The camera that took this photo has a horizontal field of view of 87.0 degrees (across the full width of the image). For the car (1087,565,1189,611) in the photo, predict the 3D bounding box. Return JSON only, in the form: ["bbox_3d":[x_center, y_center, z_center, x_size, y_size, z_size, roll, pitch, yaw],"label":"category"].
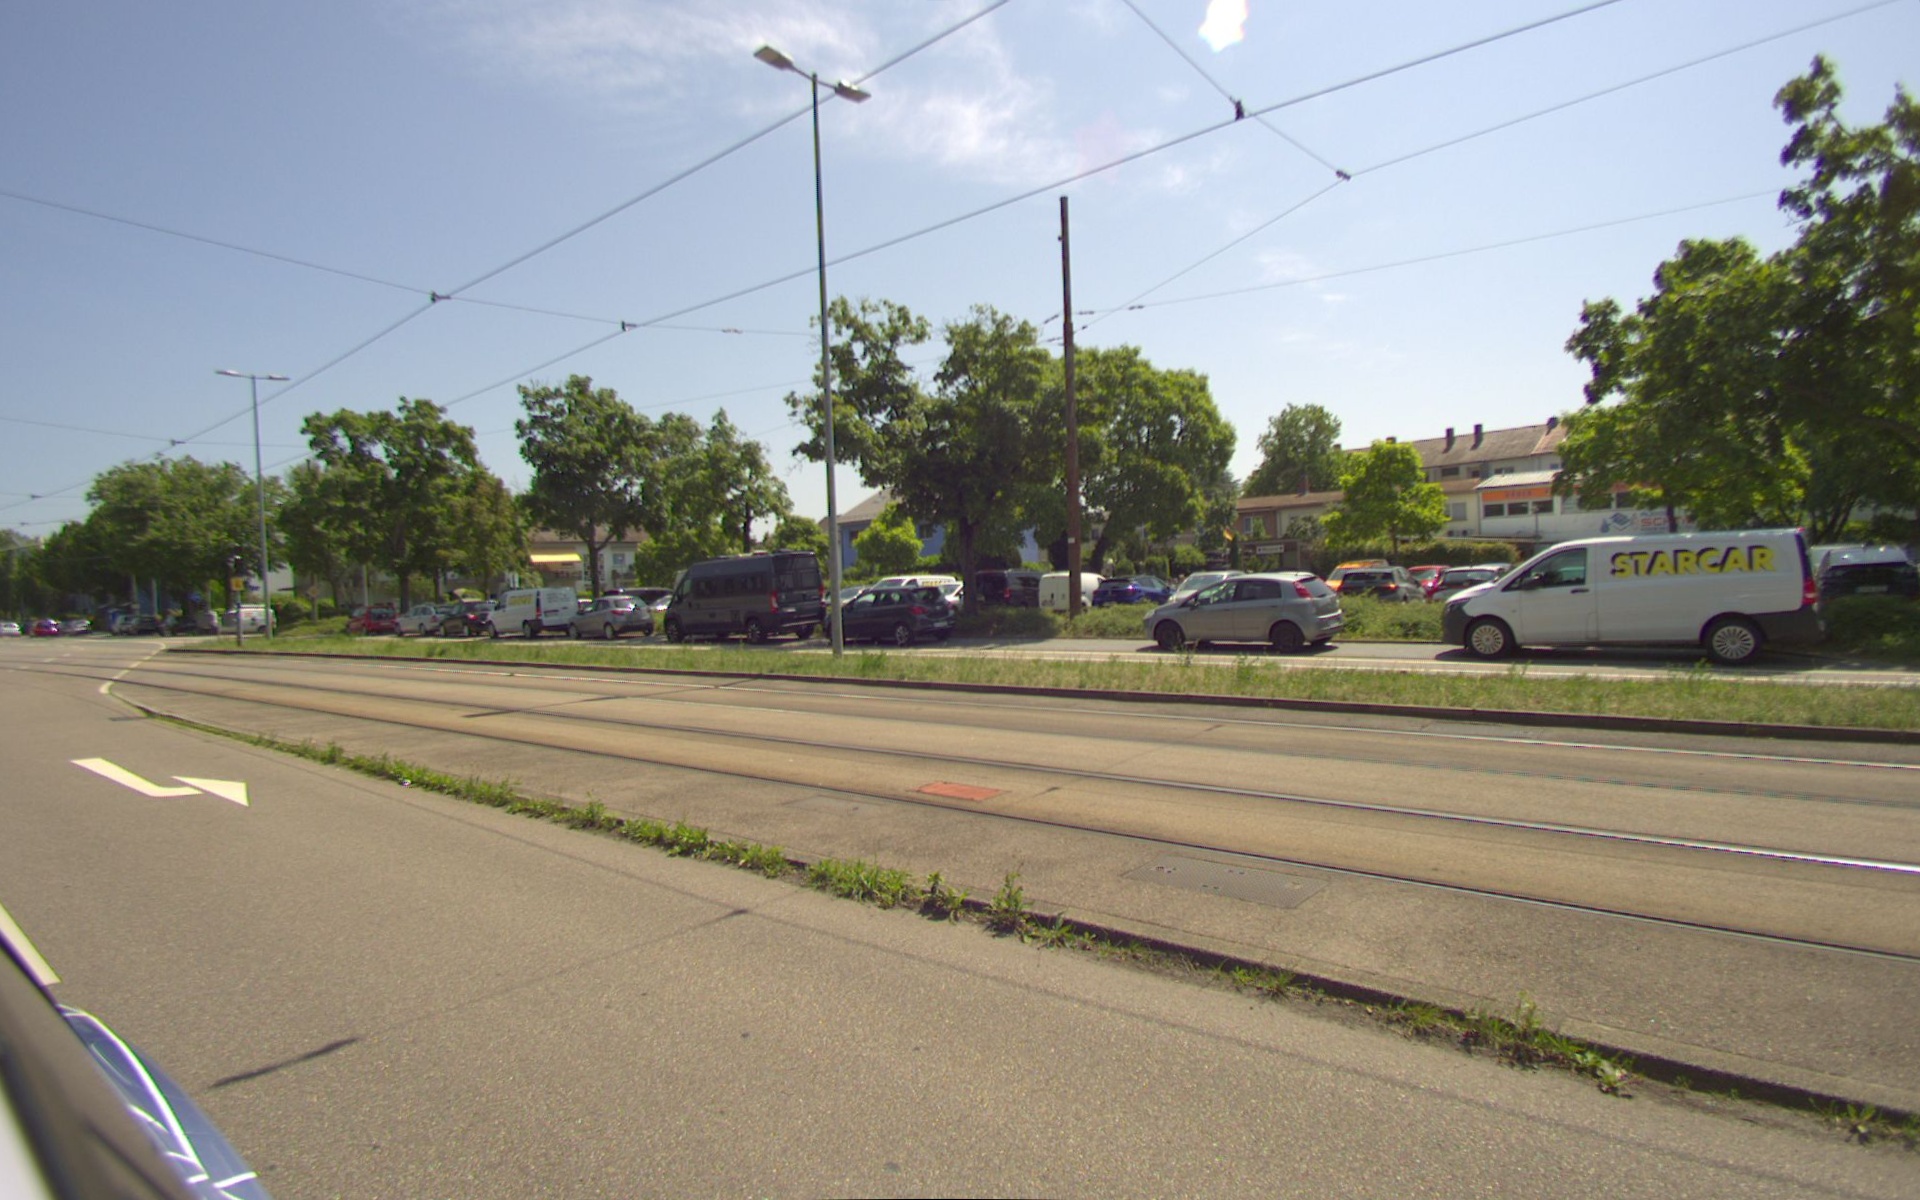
[{"bbox_3d":[6.053,-0.396,34.094,1.794,1.417,3.951,-2,0,36],"label":"car"}]

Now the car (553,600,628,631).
[{"bbox_3d":[-21.794,0.884,59.799,1.712,1.697,3.954,-1,1,34],"label":"car"}]

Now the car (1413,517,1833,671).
[{"bbox_3d":[10.320,-0.106,16.069,5.342,2.025,1.856,-1,4,42],"label":"car"}]

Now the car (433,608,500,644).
[{"bbox_3d":[-21.199,1.091,43.442,3.261,1.489,1.411,0,1,41],"label":"car"}]

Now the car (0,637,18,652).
[{"bbox_3d":[-94.538,4.354,99.815,3.750,1.328,1.759,-1,1,38],"label":"car"}]

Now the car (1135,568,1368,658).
[{"bbox_3d":[5.717,0.240,20.143,4.124,1.513,1.633,-1,4,41],"label":"car"}]

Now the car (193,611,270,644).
[{"bbox_3d":[-48.930,1.830,68.081,4.144,2.005,1.826,-1,1,-35],"label":"car"}]

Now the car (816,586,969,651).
[{"bbox_3d":[-1.812,0.448,26.705,3.750,1.589,1.950,0,1,41],"label":"car"}]

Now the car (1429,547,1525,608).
[{"bbox_3d":[13.913,-0.577,27.139,1.855,1.501,4.100,-1,1,33],"label":"car"}]

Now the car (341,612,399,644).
[{"bbox_3d":[-29.692,1.377,50.904,3.423,1.491,1.561,0,1,43],"label":"car"}]

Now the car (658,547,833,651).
[{"bbox_3d":[-6.585,-0.024,30.658,5.665,2.859,2.215,0,1,41],"label":"car"}]

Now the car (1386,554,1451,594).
[{"bbox_3d":[18.410,-1.031,40.555,1.712,1.505,3.953,-1,1,35],"label":"car"}]

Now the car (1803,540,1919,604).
[{"bbox_3d":[19.543,-0.623,21.859,1.639,1.241,3.386,-2,1,33],"label":"car"}]

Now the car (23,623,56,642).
[{"bbox_3d":[-78.700,2.791,86.529,3.423,1.491,1.796,0,1,43],"label":"car"}]

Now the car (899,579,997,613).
[{"bbox_3d":[-0.405,-0.164,38.880,1.732,1.152,3.951,-1,1,36],"label":"car"}]

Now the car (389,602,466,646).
[{"bbox_3d":[-24.619,1.054,46.730,4.494,1.907,1.614,0,1,41],"label":"car"}]

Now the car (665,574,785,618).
[{"bbox_3d":[-11.128,-0.219,48.231,2.029,1.970,5.363,-1,1,42],"label":"car"}]

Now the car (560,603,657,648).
[{"bbox_3d":[-12.596,0.868,36.182,3.607,1.475,1.744,0,1,42],"label":"car"}]

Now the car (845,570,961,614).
[{"bbox_3d":[-2.252,-0.350,41.199,1.997,1.588,4.867,-1,1,38],"label":"car"}]

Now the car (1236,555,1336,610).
[{"bbox_3d":[9.866,-0.547,30.468,1.827,1.501,4.031,-2,1,33],"label":"car"}]

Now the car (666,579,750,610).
[{"bbox_3d":[-17.750,-0.419,71.524,2.145,2.078,5.675,-1,1,38],"label":"car"}]

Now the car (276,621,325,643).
[{"bbox_3d":[-38.488,1.837,59.022,3.423,1.167,1.561,0,1,43],"label":"car"}]

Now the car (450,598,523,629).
[{"bbox_3d":[-30.695,0.863,65.648,1.712,1.888,3.954,-1,1,34],"label":"car"}]

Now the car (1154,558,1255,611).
[{"bbox_3d":[7.745,-0.516,31.813,1.862,1.499,3.955,-2,1,33],"label":"car"}]

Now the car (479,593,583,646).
[{"bbox_3d":[-16.954,0.730,39.899,4.816,1.963,1.899,0,1,42],"label":"car"}]

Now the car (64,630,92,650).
[{"bbox_3d":[-87.989,3.968,100.939,3.983,1.867,1.681,0,1,43],"label":"car"}]

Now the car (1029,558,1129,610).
[{"bbox_3d":[4.308,-0.591,36.157,1.794,1.730,3.951,-1,1,36],"label":"car"}]

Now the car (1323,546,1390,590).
[{"bbox_3d":[16.355,-1.321,41.657,1.689,1.665,4.082,-2,1,34],"label":"car"}]

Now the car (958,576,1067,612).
[{"bbox_3d":[2.006,-0.234,37.292,2.029,1.152,4.211,-1,1,36],"label":"car"}]

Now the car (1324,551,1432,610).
[{"bbox_3d":[11.753,-0.566,28.311,2.018,1.501,4.117,-2,1,33],"label":"car"}]
